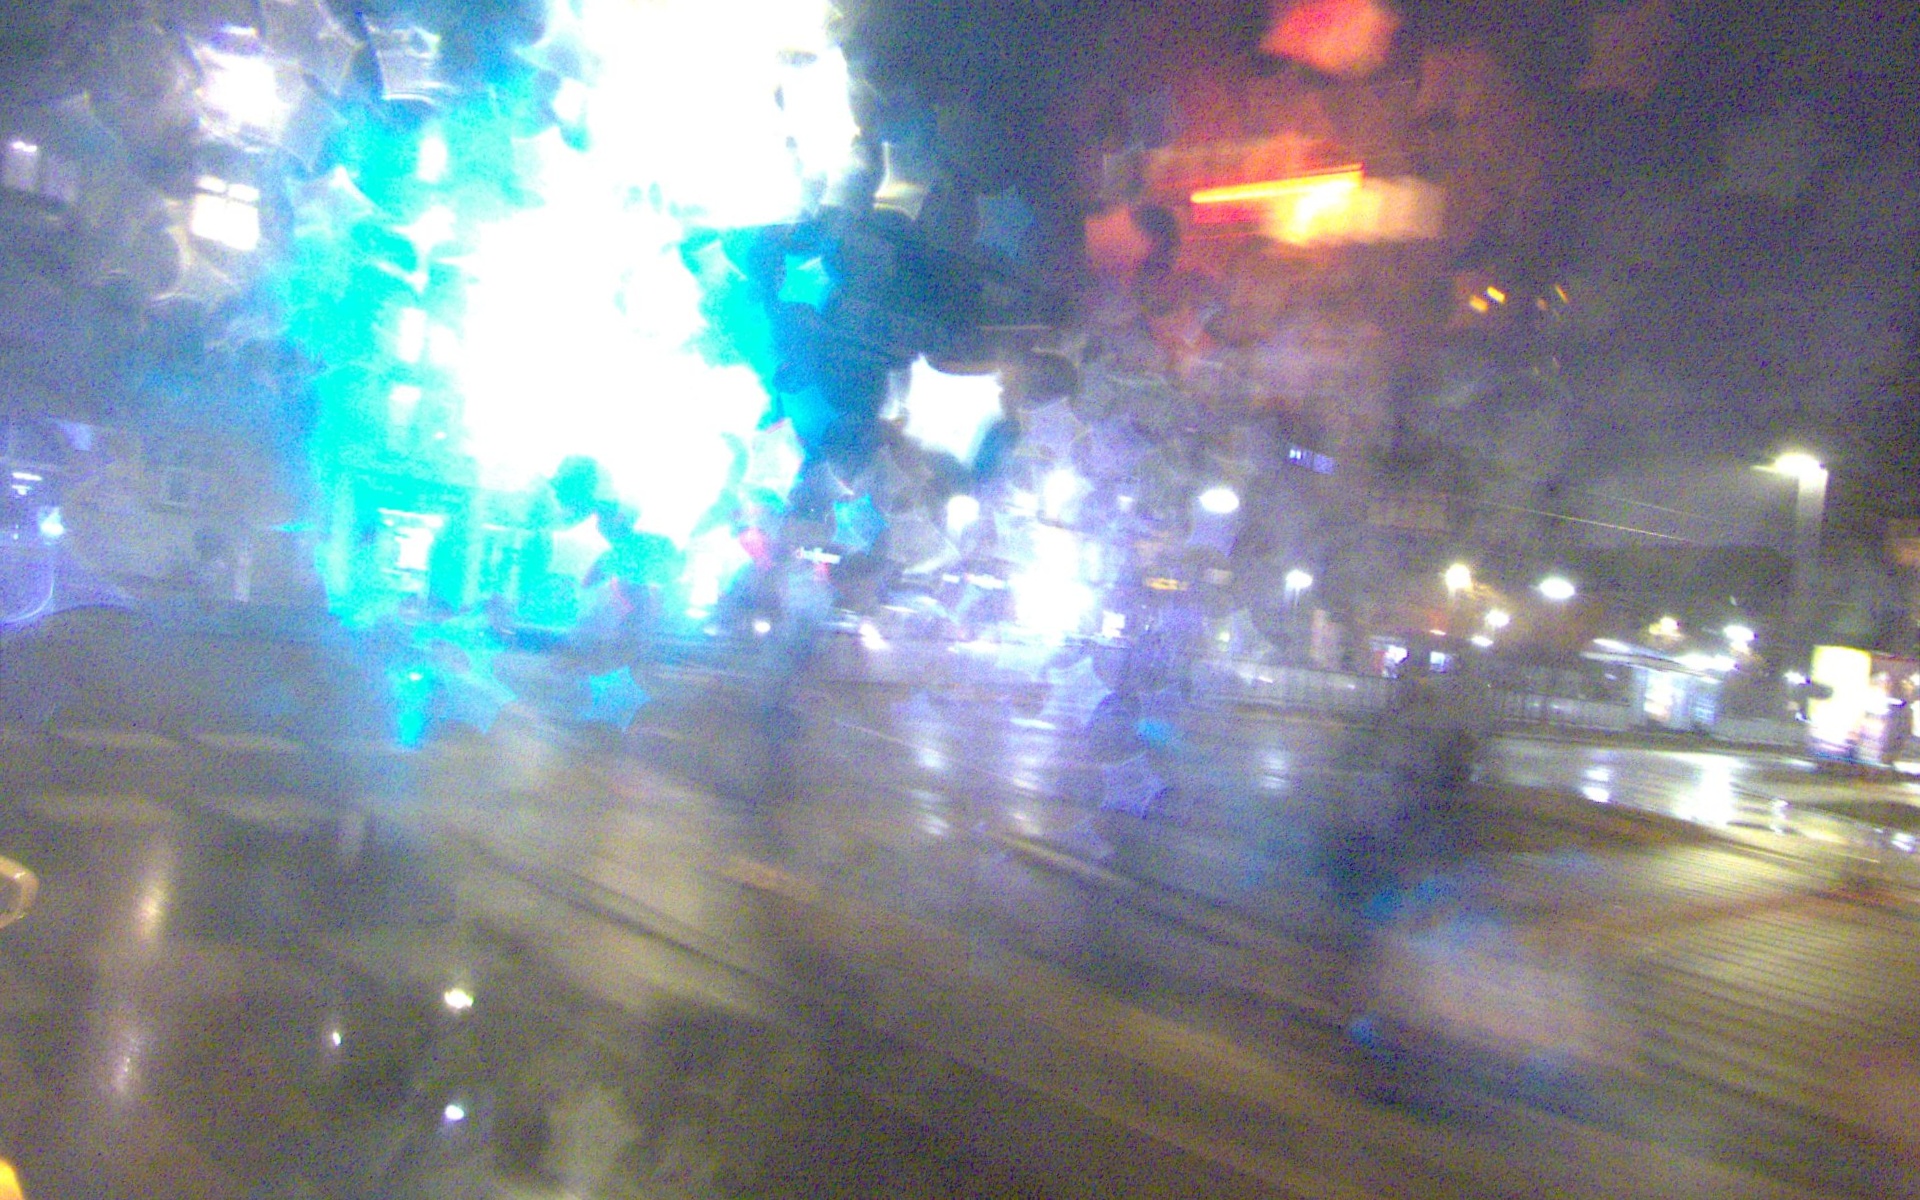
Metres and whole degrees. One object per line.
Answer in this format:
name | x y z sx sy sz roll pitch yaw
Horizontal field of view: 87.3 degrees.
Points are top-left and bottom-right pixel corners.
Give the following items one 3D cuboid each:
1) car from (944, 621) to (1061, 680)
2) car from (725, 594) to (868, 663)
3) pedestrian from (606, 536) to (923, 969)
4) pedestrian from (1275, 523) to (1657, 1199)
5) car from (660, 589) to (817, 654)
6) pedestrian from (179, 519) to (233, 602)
car | 1.492 1.771 34.936 3.695 1.598 1.675 8 -1 -35
car | -4.882 0.866 30.196 3.768 1.598 1.725 8 -1 -38
pedestrian | -0.953 0.692 5.055 0.838 1.848 1.107 7 0 37
pedestrian | 1.772 0.754 3.468 0.837 1.848 1.108 7 0 34
car | -7.196 0.722 32.951 4.553 1.597 1.902 8 -2 -38
pedestrian | -20.128 -1.063 26.869 0.968 2.040 1.005 6 3 -37
